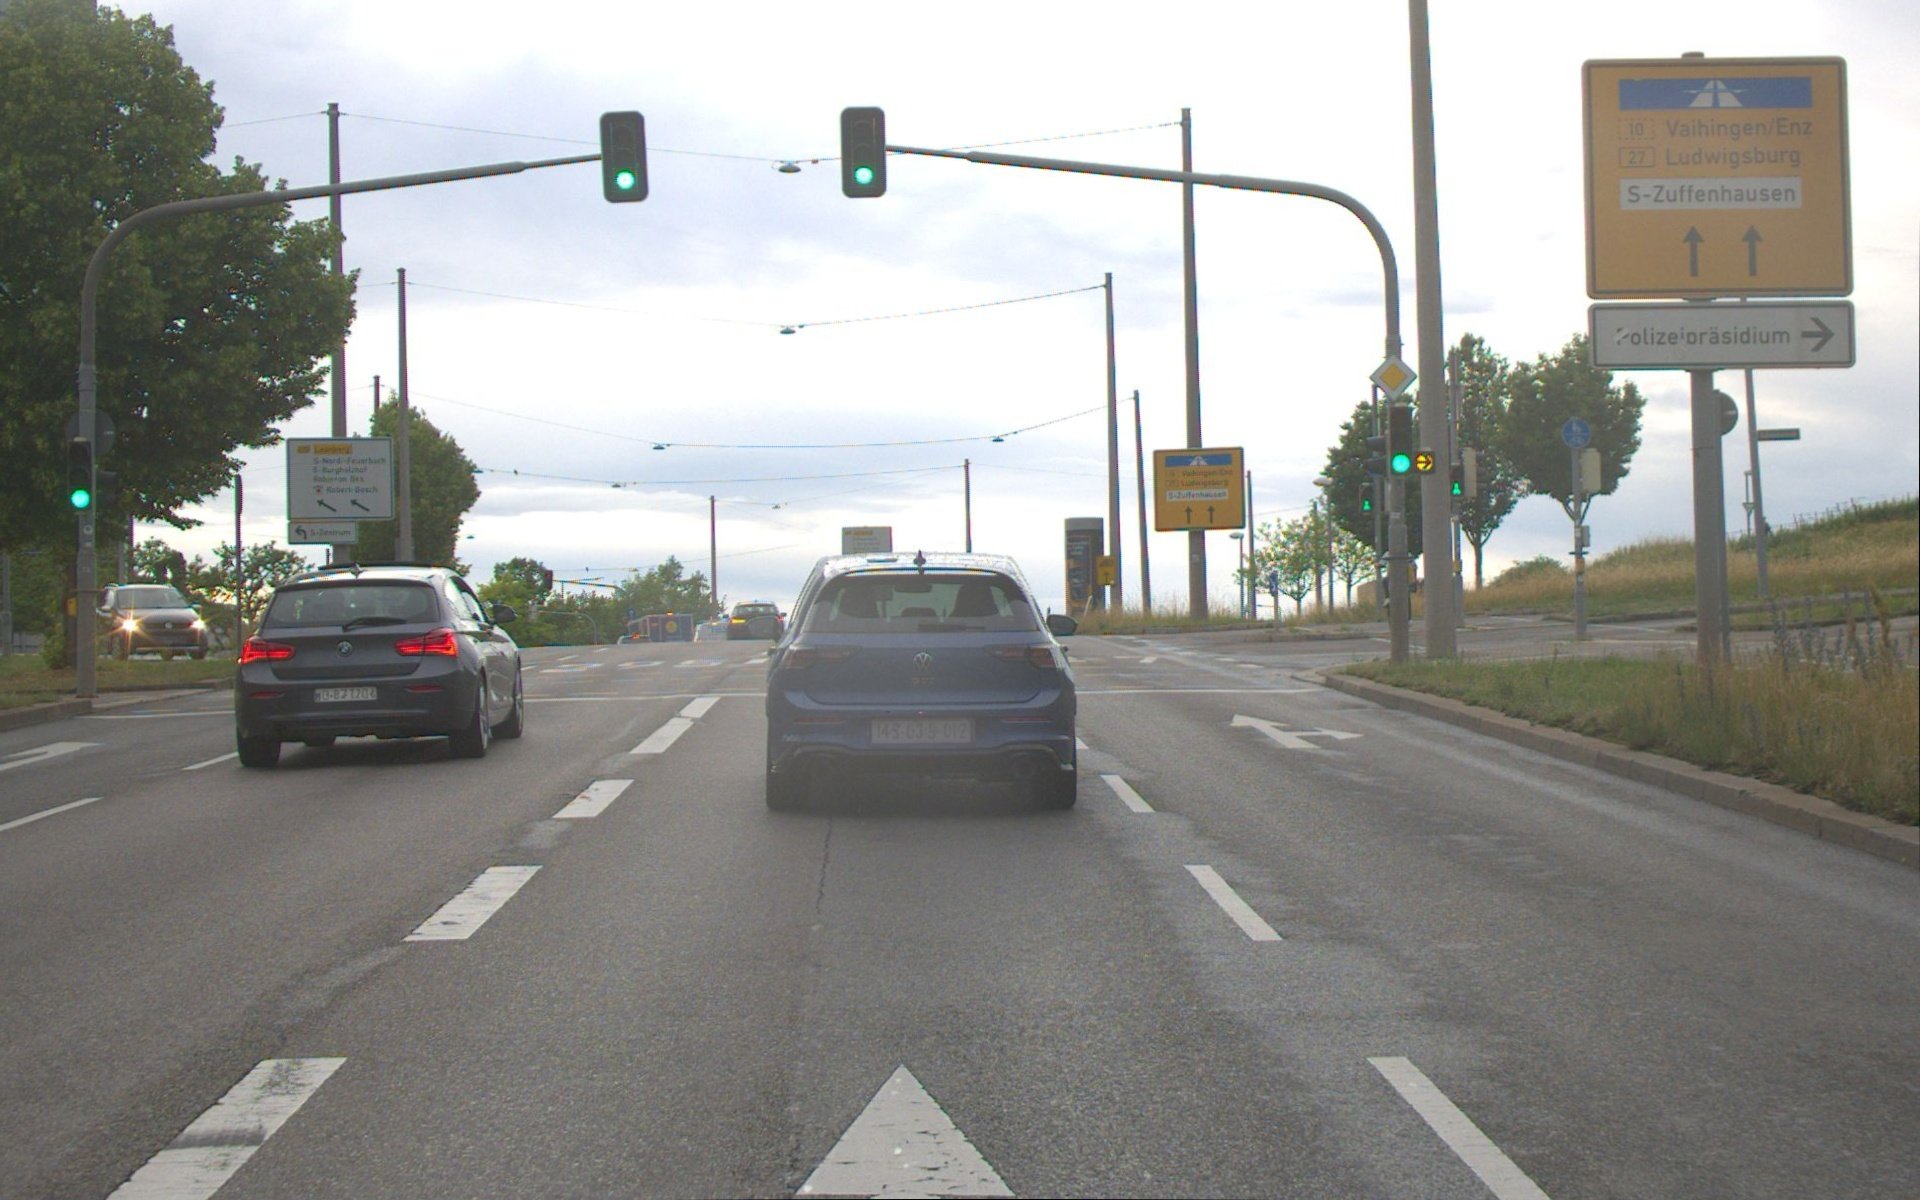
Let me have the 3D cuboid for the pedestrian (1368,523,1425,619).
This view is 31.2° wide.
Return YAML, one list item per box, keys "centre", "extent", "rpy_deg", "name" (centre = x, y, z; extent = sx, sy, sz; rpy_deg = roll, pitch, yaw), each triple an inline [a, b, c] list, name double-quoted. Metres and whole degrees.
- centre: [7.344, -0.489, 57.900]
  extent: [0.632, 1.565, 0.896]
  rpy_deg: [-3, -1, -10]
  name: "pedestrian"

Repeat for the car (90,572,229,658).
- centre: [-15.142, 0.262, 64.905]
  extent: [1.889, 1.502, 4.001]
  rpy_deg: [-1, 1, -23]
  name: "car"

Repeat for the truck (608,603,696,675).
- centre: [-14.586, 1.878, 162.294]
  extent: [2.665, 3.209, 6.550]
  rpy_deg: [1, -2, -18]
  name: "truck"

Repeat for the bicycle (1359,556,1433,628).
- centre: [7.339, -0.129, 57.930]
  extent: [0.632, 1.101, 1.753]
  rpy_deg: [-4, -1, -10]
  name: "bicycle"

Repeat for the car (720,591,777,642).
- centre: [-6.692, 0.508, 108.847]
  extent: [1.722, 1.536, 3.704]
  rpy_deg: [1, 0, -3]
  name: "car"

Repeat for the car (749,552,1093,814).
- centre: [-0.231, 0.426, 20.571]
  extent: [1.838, 1.389, 4.000]
  rpy_deg: [1, 1, 0]
  name: "car"

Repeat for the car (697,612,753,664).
- centre: [-10.021, 1.638, 146.042]
  extent: [1.904, 1.966, 5.092]
  rpy_deg: [-1, -2, -9]
  name: "car"

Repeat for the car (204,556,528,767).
- centre: [-4.411, 0.412, 26.069]
  extent: [1.869, 1.456, 3.976]
  rpy_deg: [-1, 0, -2]
  name: "car"
